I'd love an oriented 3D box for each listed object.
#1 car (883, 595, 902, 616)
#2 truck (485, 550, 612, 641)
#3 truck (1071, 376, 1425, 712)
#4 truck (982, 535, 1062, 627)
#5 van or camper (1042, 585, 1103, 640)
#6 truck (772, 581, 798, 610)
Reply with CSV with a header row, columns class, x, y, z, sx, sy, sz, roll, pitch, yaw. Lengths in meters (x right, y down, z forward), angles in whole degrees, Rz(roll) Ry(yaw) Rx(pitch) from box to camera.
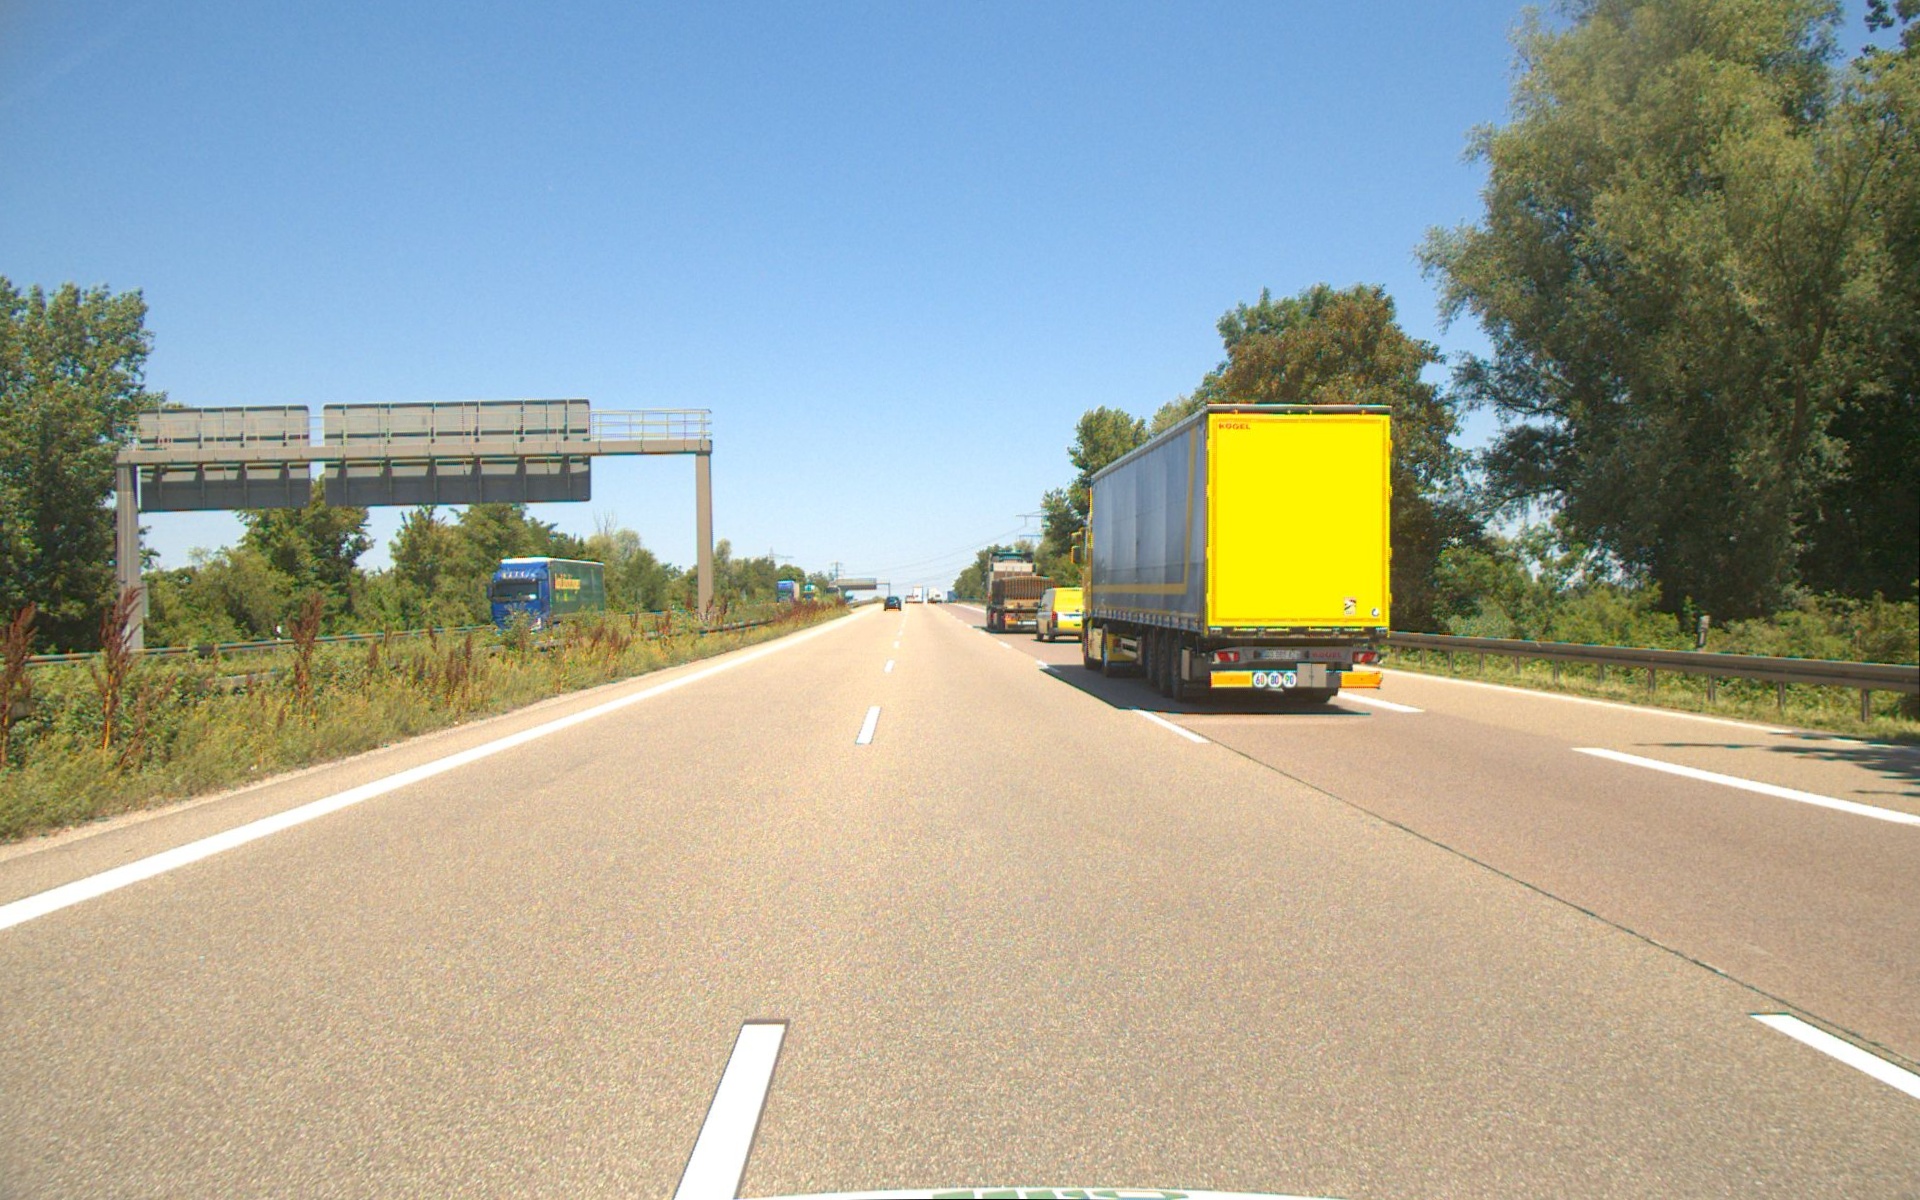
class,x,y,z,sx,sy,sz,roll,pitch,yaw
car,-6.839,0.538,168.350,1.755,2.049,3.886,-1,0,-1
truck,-22.135,-0.213,90.396,2.896,4.418,18.234,-2,0,-2
truck,4.326,-0.673,30.015,2.788,4.332,16.783,-1,0,-2
truck,2.837,-0.759,80.463,2.909,4.026,16.608,0,0,-1
van or camper,4.115,0.423,61.149,1.952,1.942,4.972,0,0,1
truck,-27.650,-0.670,262.037,2.896,4.418,17.462,-1,0,-2
